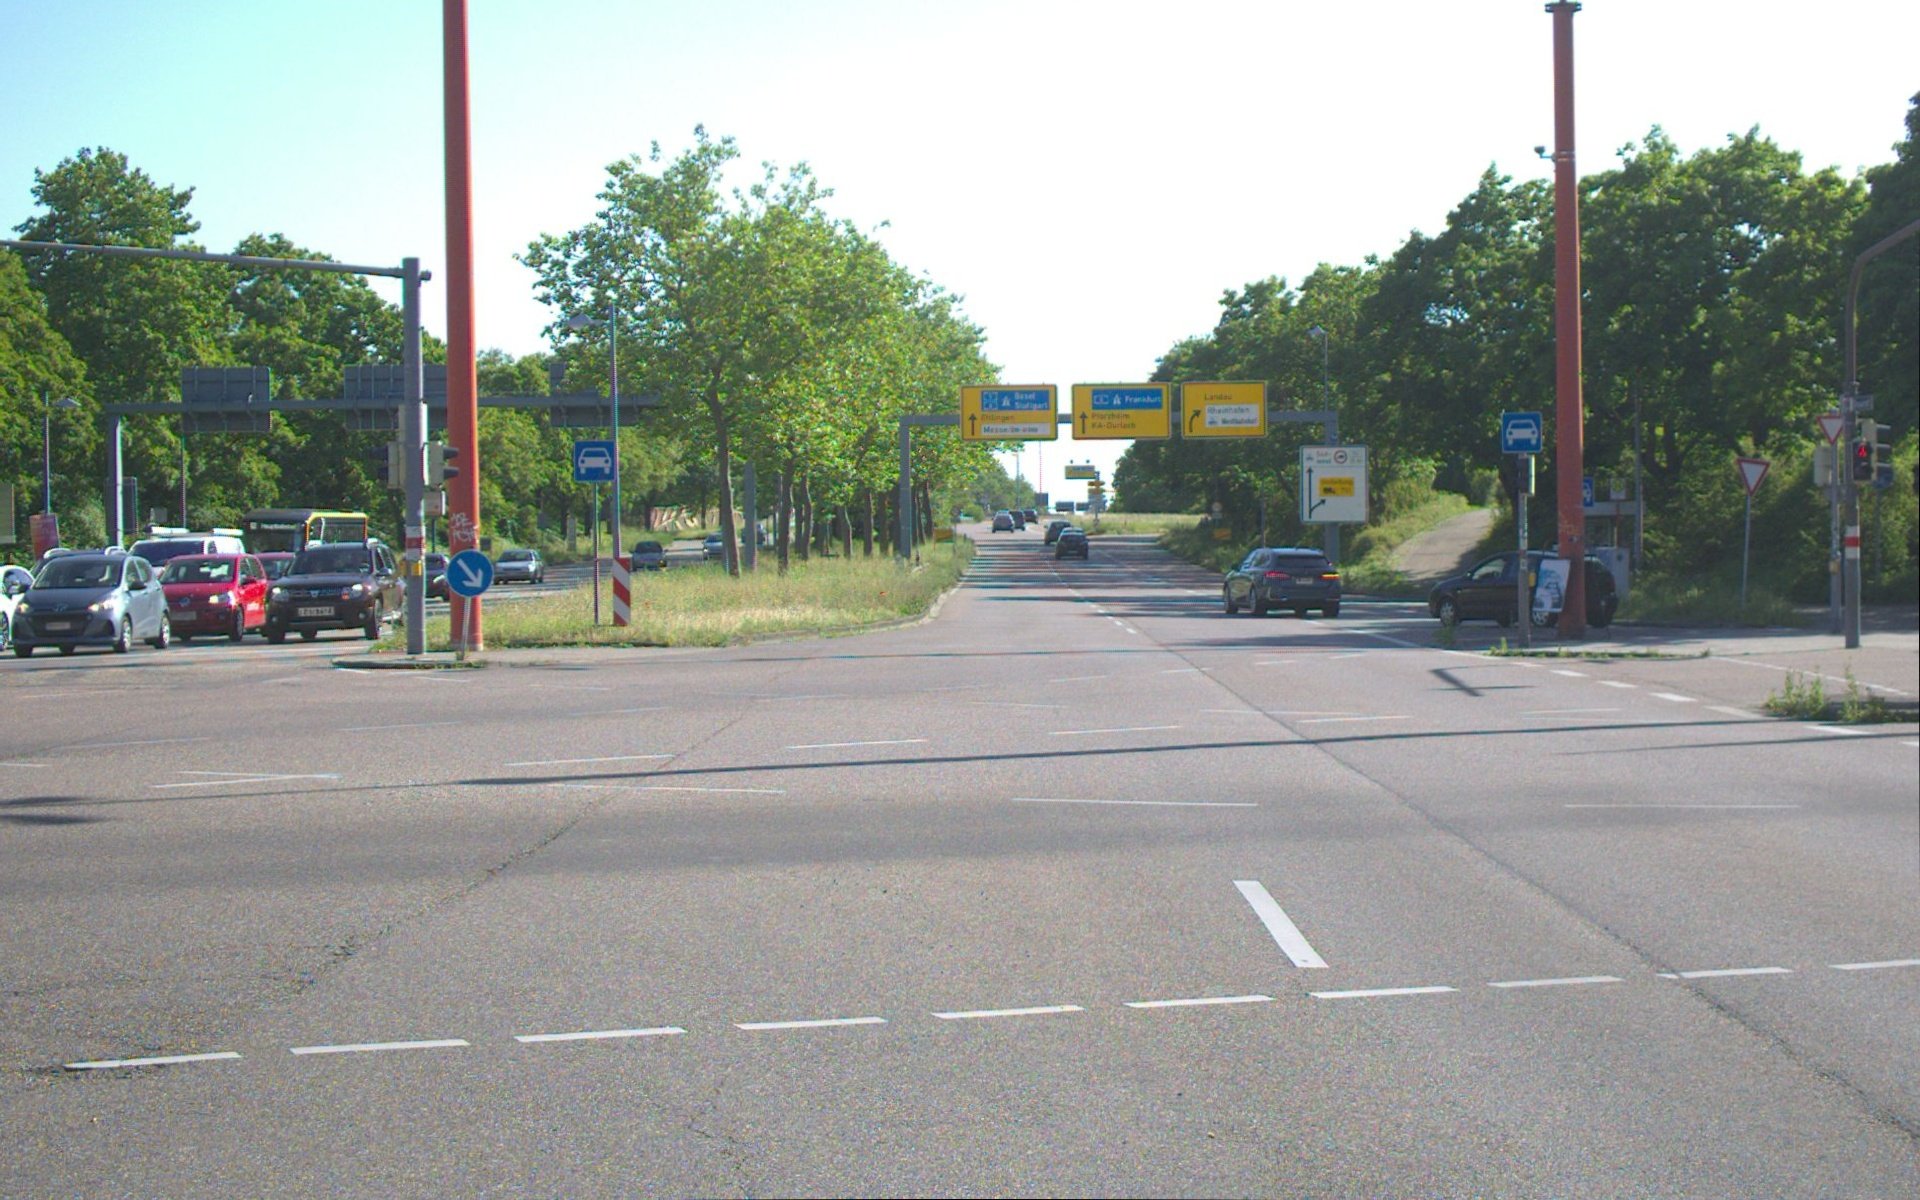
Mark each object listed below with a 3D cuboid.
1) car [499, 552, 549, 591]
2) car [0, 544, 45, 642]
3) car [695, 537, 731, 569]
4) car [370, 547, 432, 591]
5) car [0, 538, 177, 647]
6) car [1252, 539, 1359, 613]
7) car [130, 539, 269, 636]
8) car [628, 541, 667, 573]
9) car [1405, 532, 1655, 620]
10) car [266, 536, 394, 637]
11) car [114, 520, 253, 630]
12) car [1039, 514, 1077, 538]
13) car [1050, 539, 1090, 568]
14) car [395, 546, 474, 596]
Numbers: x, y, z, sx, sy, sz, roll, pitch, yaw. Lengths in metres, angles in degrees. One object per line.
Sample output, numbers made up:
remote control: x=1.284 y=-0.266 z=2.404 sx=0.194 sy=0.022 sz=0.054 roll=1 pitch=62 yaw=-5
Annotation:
car: x=-18.226 y=-1.208 z=143.848 sx=1.876 sy=1.568 sz=3.948 roll=-1 pitch=1 yaw=-5
car: x=-16.487 y=-0.125 z=57.052 sx=1.993 sy=1.568 sz=4.122 roll=-2 pitch=1 yaw=-8
car: x=-14.285 y=-2.721 z=199.013 sx=1.898 sy=1.764 sz=3.850 roll=-1 pitch=1 yaw=-2
car: x=-20.337 y=-1.146 z=125.128 sx=1.876 sy=1.568 sz=4.121 roll=-1 pitch=1 yaw=-5
car: x=-13.252 y=-0.139 z=52.182 sx=1.993 sy=1.568 sz=4.121 roll=-1 pitch=1 yaw=-3
car: x=7.666 y=-0.560 z=76.693 sx=2.159 sy=1.568 sz=4.582 roll=-1 pitch=1 yaw=3
car: x=-12.897 y=-0.243 z=58.484 sx=1.993 sy=1.568 sz=4.122 roll=-1 pitch=1 yaw=-8
car: x=-15.507 y=-2.141 z=170.526 sx=1.876 sy=1.568 sz=4.121 roll=-1 pitch=1 yaw=-5
car: x=10.649 y=-0.460 z=64.435 sx=2.159 sy=1.568 sz=4.279 roll=-1 pitch=1 yaw=-39
car: x=-10.246 y=-0.252 z=56.163 sx=1.876 sy=1.568 sz=4.122 roll=-1 pitch=1 yaw=-8
car: x=-16.112 y=-0.537 z=71.524 sx=2.062 sy=2.185 sz=4.379 roll=-1 pitch=1 yaw=-2
car: x=6.658 y=-5.021 z=233.805 sx=2.158 sy=1.568 sz=4.281 roll=-1 pitch=1 yaw=-4
car: x=6.064 y=-2.580 z=189.547 sx=2.159 sy=1.568 sz=4.281 roll=-1 pitch=1 yaw=1
car: x=-15.835 y=-0.885 z=103.814 sx=1.821 sy=1.449 sz=3.656 roll=-1 pitch=1 yaw=0
